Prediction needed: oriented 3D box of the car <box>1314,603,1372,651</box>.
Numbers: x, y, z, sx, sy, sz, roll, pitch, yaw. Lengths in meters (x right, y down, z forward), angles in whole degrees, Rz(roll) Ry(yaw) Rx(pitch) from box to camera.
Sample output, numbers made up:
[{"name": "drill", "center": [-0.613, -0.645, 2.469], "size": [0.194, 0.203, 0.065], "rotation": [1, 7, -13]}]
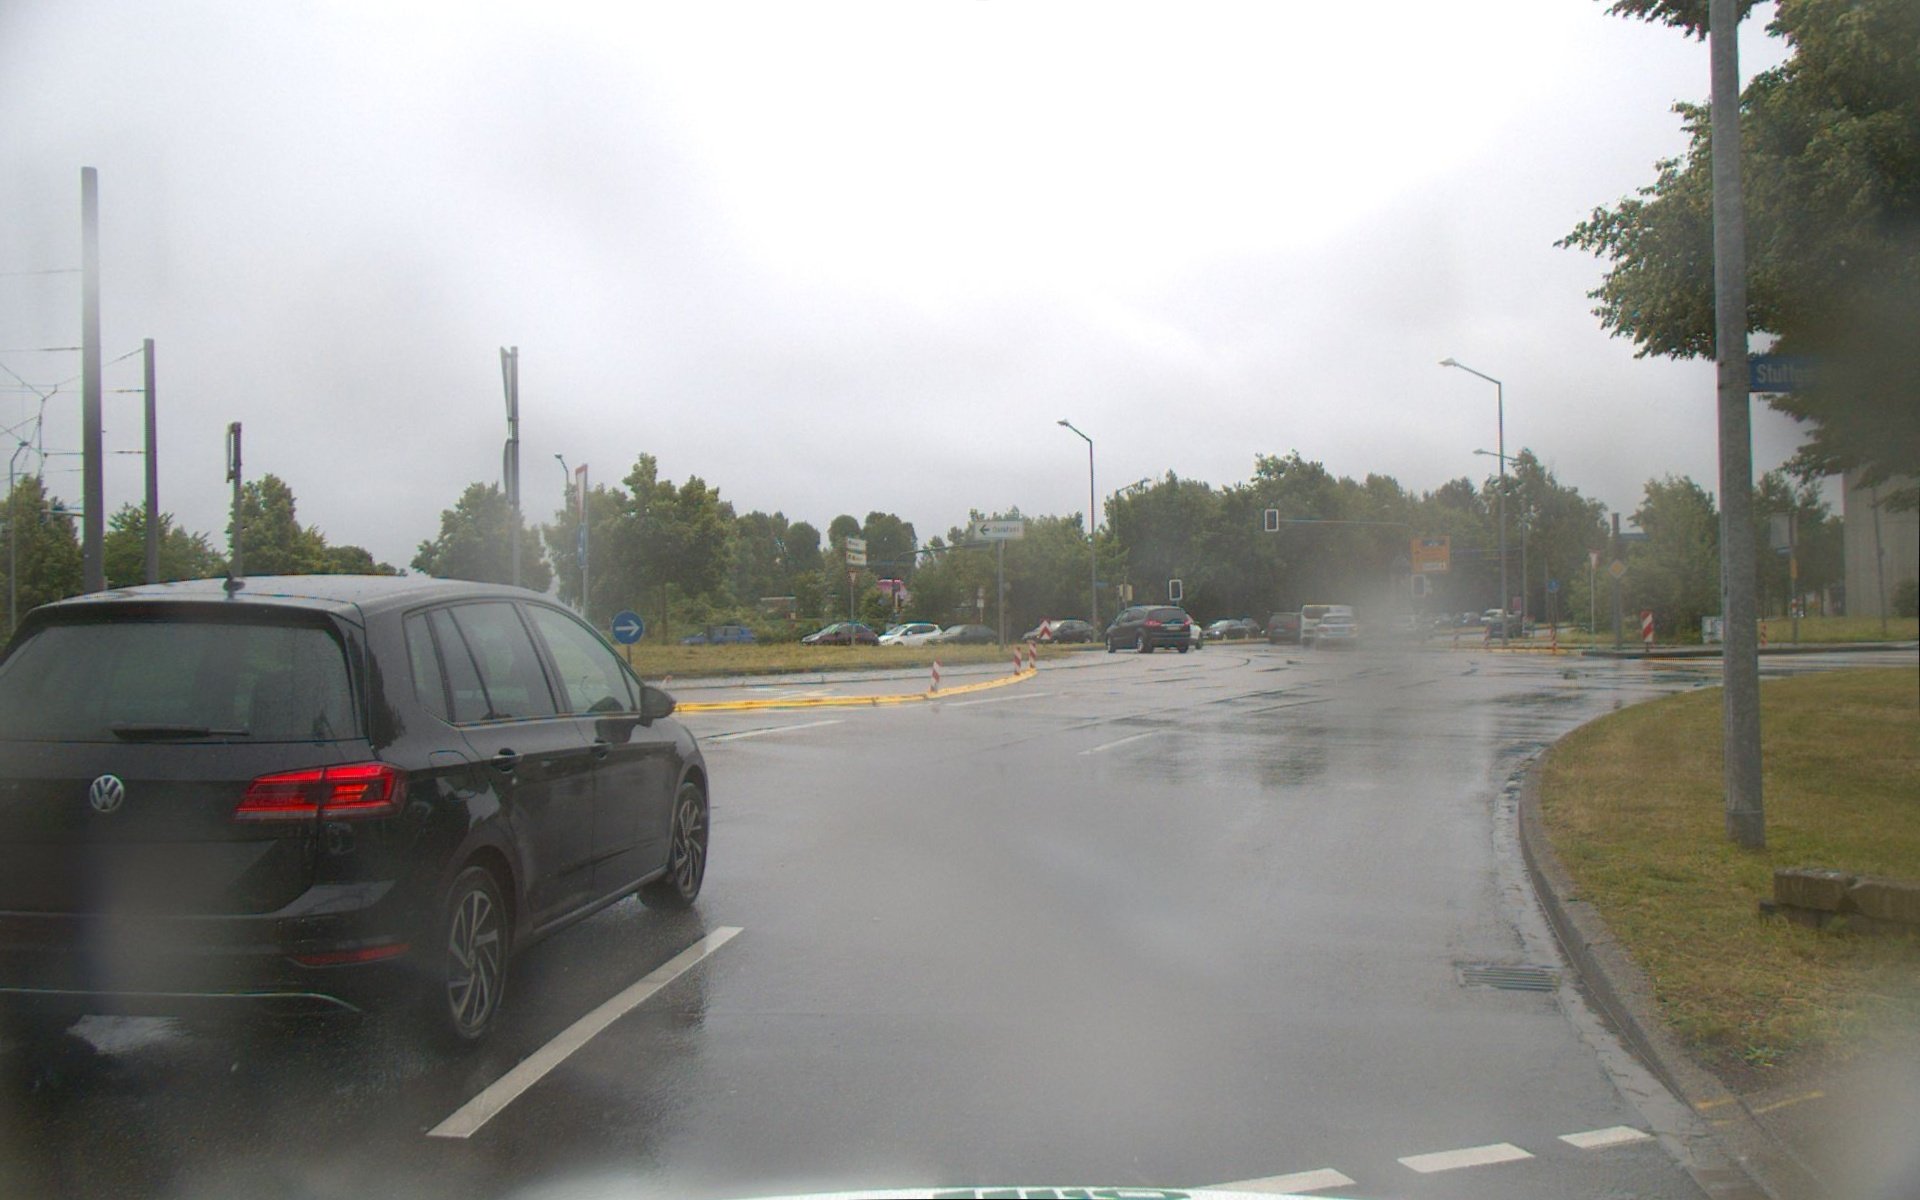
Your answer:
[{"name": "car", "center": [15.471, 1.082, 66.596], "size": [1.746, 1.842, 4.839], "rotation": [-2, -1, 19]}]

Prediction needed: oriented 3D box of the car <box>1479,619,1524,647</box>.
[{"name": "car", "center": [31.318, 1.895, 95.609], "size": [1.659, 1.518, 3.241], "rotation": [-1, 0, 34]}]

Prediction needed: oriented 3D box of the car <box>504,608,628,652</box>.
[{"name": "car", "center": [-16.622, 1.271, 69.818], "size": [4.792, 1.774, 1.762], "rotation": [2, -1, -27]}]

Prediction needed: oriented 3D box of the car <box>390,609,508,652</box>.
[{"name": "car", "center": [-22.458, 1.332, 72.841], "size": [4.763, 1.774, 1.773], "rotation": [1, -1, -11]}]

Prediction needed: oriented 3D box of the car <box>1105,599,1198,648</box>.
[{"name": "car", "center": [6.814, 0.841, 59.267], "size": [1.757, 1.676, 3.977], "rotation": [1, -1, -19]}]

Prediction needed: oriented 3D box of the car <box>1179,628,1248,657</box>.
[{"name": "car", "center": [14.781, 2.489, 96.278], "size": [3.956, 1.601, 1.655], "rotation": [2, -2, -37]}]

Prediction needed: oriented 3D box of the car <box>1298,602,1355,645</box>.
[{"name": "car", "center": [18.368, 1.187, 82.789], "size": [1.749, 2.072, 3.994], "rotation": [0, -1, 28]}]

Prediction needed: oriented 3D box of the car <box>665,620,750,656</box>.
[{"name": "car", "center": [-12.483, 1.865, 81.684], "size": [3.925, 1.676, 1.780], "rotation": [1, -1, -18]}]

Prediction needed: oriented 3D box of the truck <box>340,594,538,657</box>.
[{"name": "truck", "center": [-24.160, 1.206, 76.984], "size": [8.630, 2.759, 1.990], "rotation": [1, -1, -18]}]

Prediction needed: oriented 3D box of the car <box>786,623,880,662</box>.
[{"name": "car", "center": [-5.813, 1.948, 75.639], "size": [3.930, 1.676, 1.777], "rotation": [2, -1, -22]}]

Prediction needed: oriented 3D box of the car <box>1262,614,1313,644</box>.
[{"name": "car", "center": [17.165, 1.527, 86.696], "size": [1.657, 1.518, 3.244], "rotation": [0, -1, 30]}]

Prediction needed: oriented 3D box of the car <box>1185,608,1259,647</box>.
[{"name": "car", "center": [11.852, 1.234, 74.590], "size": [1.653, 1.676, 3.930], "rotation": [0, -2, 37]}]

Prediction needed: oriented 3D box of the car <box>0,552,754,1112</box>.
[{"name": "car", "center": [-2.201, 0.685, 6.855], "size": [1.745, 1.544, 4.334], "rotation": [1, -1, 5]}]

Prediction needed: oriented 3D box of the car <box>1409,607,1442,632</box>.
[{"name": "car", "center": [39.678, 1.675, 140.941], "size": [1.756, 2.049, 3.662], "rotation": [0, -1, 33]}]

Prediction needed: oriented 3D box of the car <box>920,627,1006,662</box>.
[{"name": "car", "center": [0.140, 2.210, 82.996], "size": [3.931, 1.676, 1.777], "rotation": [2, -1, -22]}]

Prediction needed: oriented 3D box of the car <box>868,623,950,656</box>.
[{"name": "car", "center": [-2.662, 2.060, 86.562], "size": [3.952, 1.676, 1.768], "rotation": [2, -2, -35]}]

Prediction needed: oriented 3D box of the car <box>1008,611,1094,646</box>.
[{"name": "car", "center": [4.540, 1.438, 82.716], "size": [3.935, 1.676, 1.775], "rotation": [2, -1, -25]}]

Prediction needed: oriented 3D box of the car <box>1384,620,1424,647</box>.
[{"name": "car", "center": [26.627, 1.980, 99.164], "size": [1.656, 1.518, 3.247], "rotation": [-1, 0, 27]}]
